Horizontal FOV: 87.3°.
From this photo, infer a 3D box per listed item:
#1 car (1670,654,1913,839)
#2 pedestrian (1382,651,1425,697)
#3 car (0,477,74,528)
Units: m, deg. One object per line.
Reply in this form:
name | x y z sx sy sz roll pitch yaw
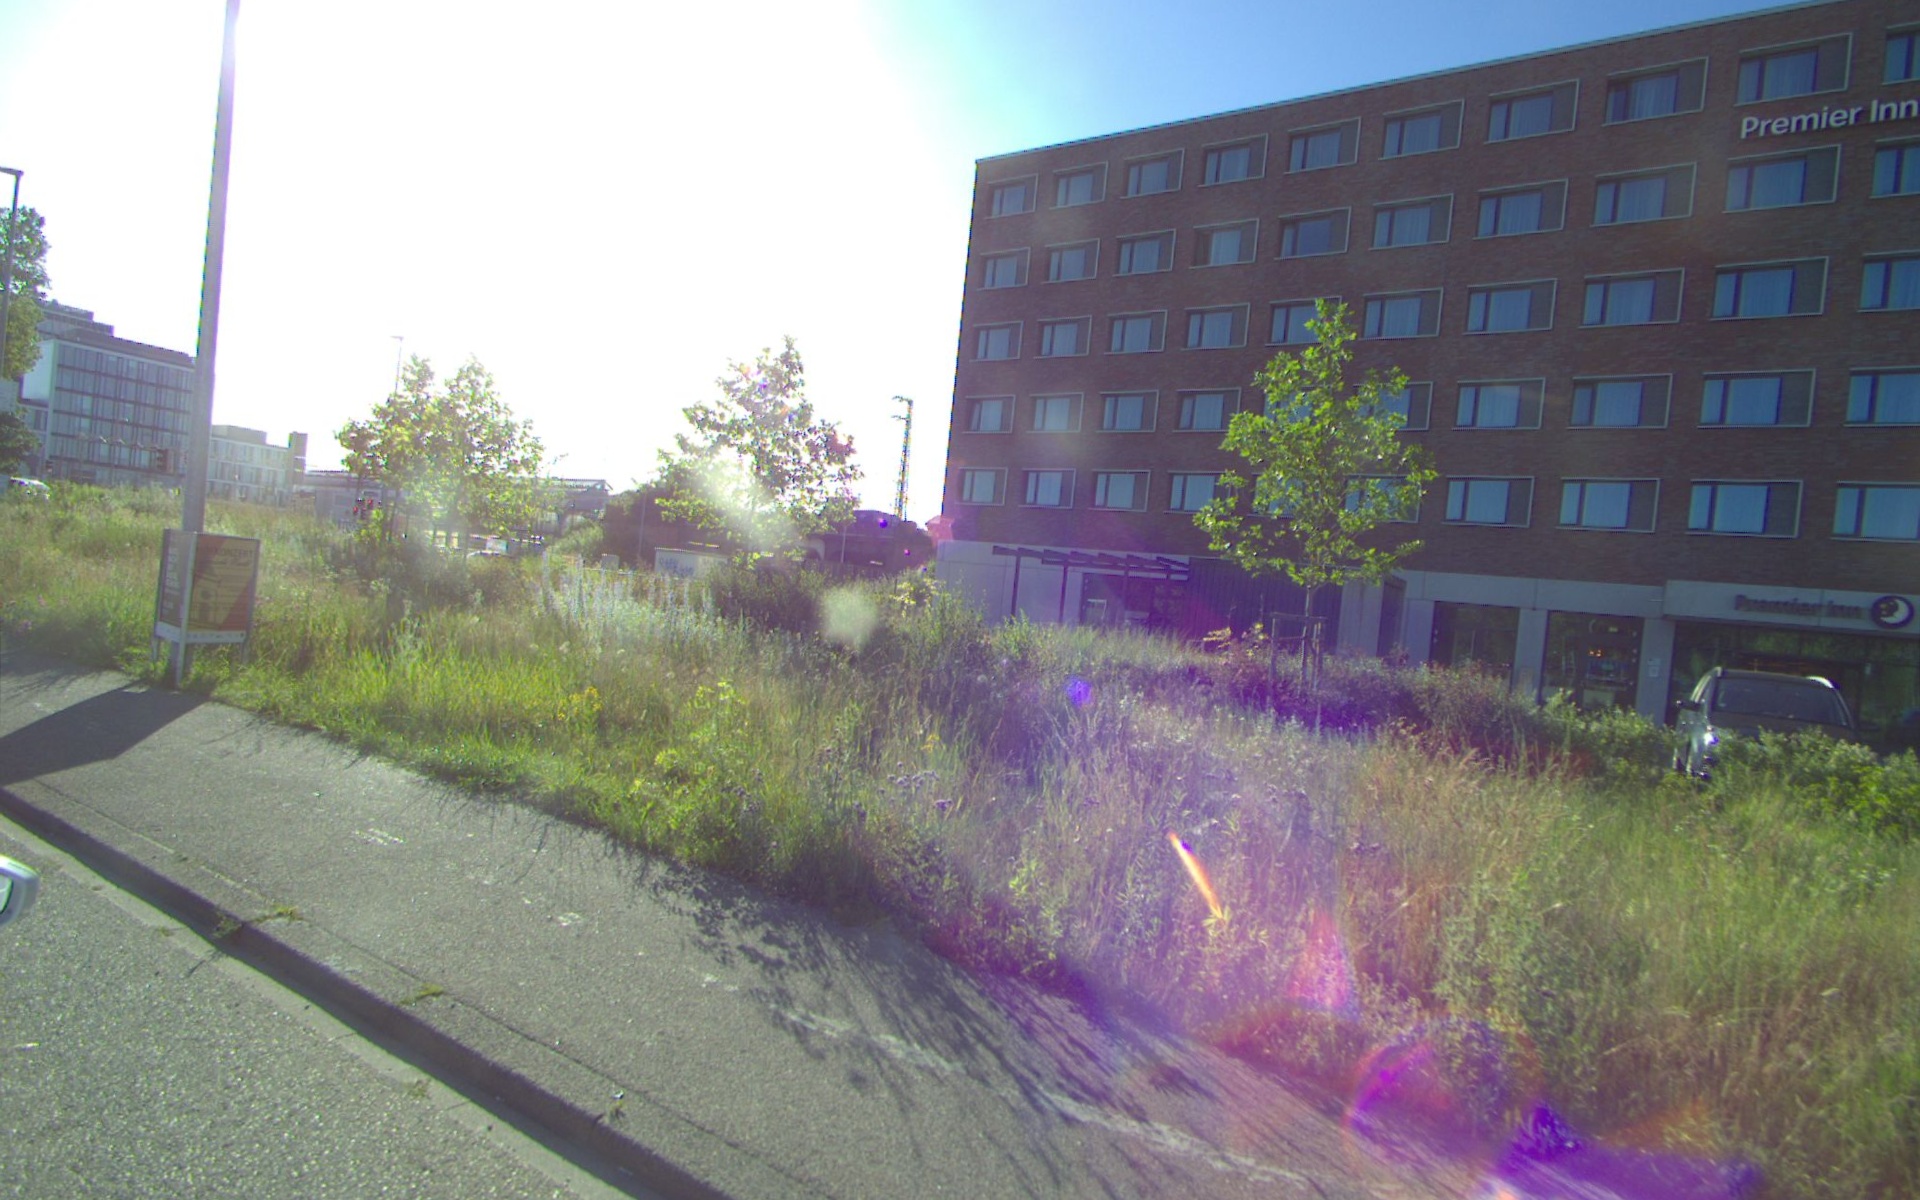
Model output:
car | 10.259 1.735 12.731 1.822 1.726 3.990 7 -1 34
pedestrian | 14.148 2.368 32.065 0.993 1.326 0.930 7 0 32
car | -35.854 -3.768 38.138 1.877 1.615 3.983 7 0 -19
